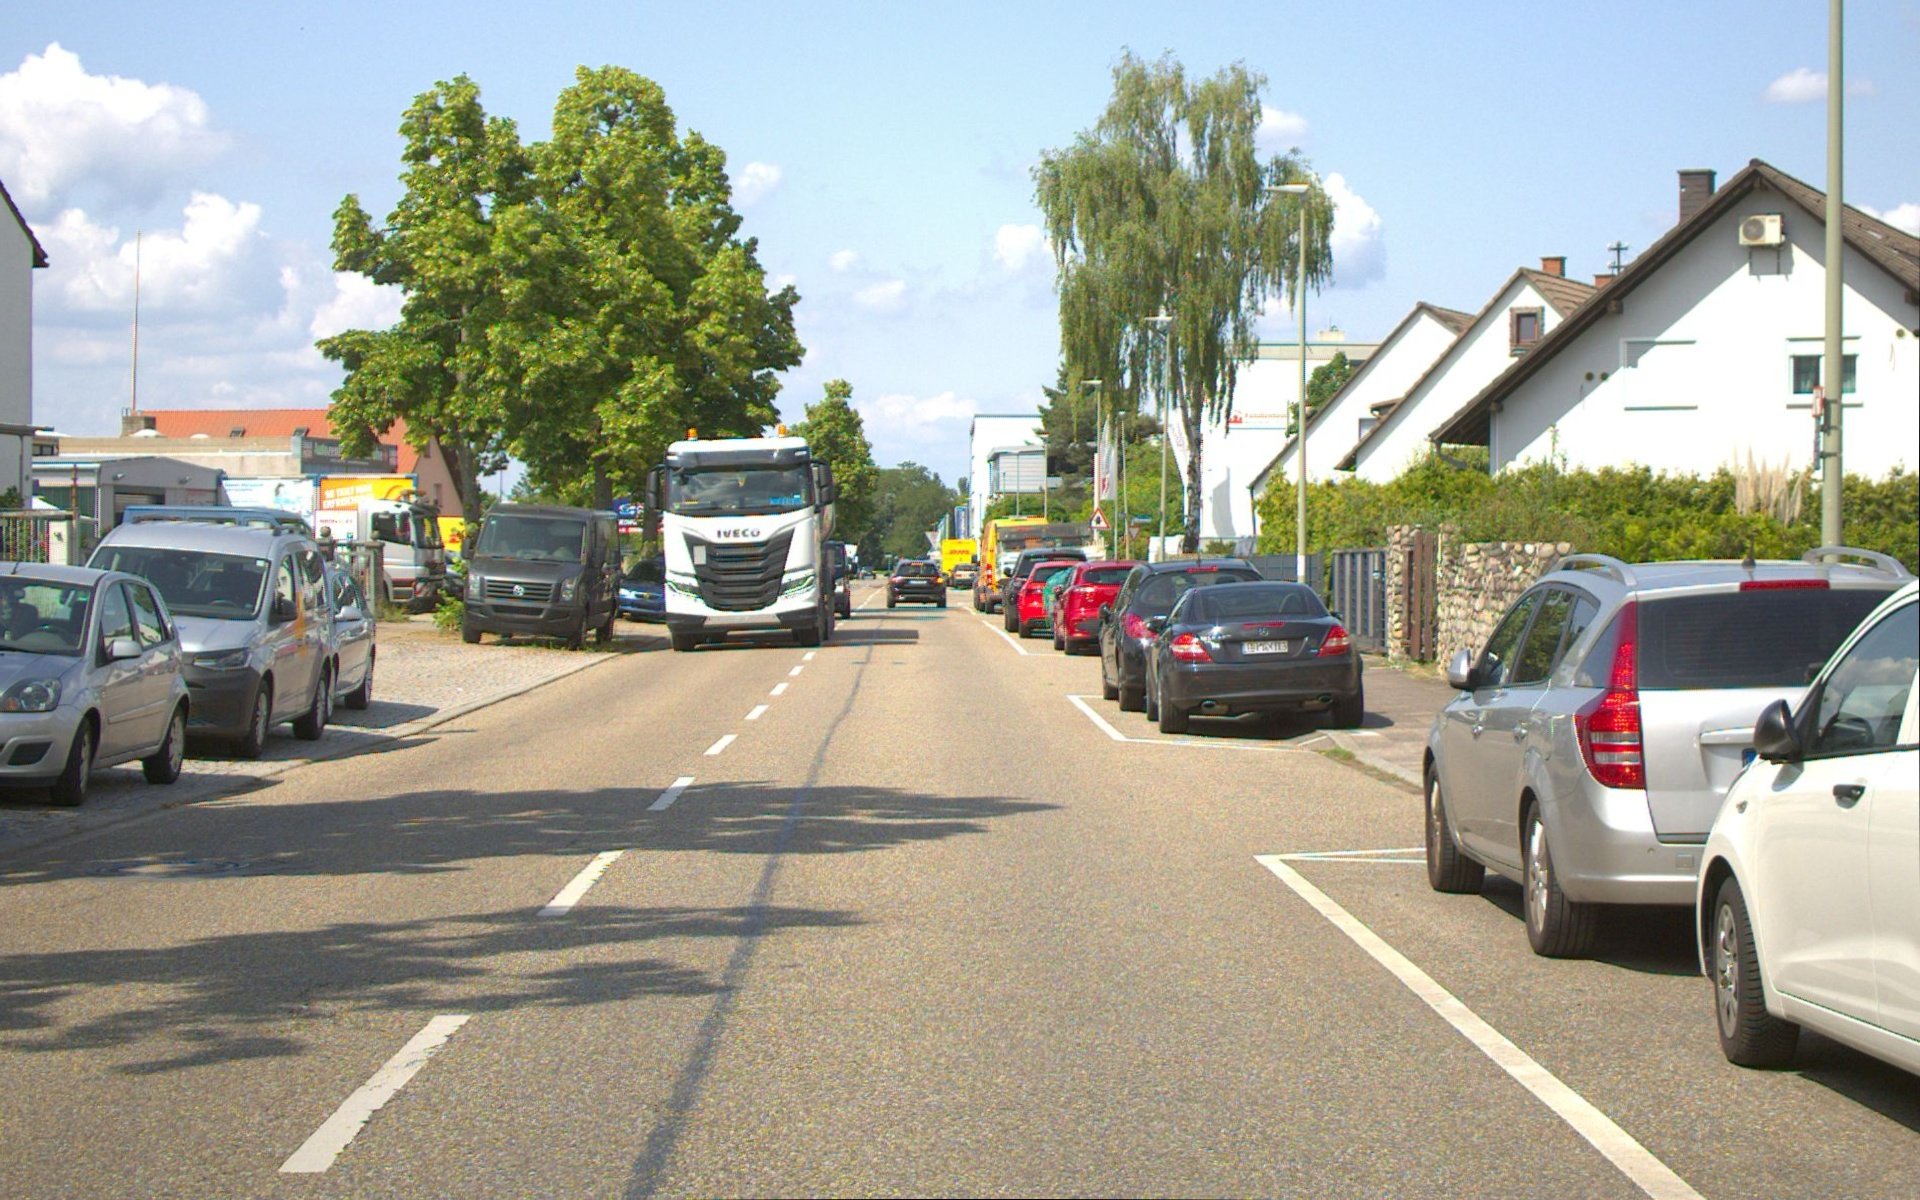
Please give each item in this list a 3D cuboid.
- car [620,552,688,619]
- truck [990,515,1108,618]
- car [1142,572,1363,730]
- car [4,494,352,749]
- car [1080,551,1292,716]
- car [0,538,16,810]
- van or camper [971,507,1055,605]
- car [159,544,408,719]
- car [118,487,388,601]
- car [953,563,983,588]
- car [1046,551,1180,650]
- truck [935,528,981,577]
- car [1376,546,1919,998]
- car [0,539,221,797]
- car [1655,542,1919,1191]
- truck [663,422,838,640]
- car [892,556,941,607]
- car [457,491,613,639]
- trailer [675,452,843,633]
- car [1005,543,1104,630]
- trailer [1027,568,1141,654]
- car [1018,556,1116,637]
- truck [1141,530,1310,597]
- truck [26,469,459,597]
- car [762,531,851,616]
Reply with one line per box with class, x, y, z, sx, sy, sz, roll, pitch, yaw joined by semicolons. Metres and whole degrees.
car;-7.081;-0.354;79.730;1.247;1.514;3.366;0;1;0
truck;2.019;-0.784;79.937;2.522;2.291;5.895;0;1;0
car;2.609;0.422;31.418;1.710;1.313;3.963;1;1;1
car;-6.296;0.135;28.179;1.809;1.800;4.491;4;1;-1
car;2.297;0.304;35.917;1.743;1.545;4.122;2;1;-2
car;-6.097;0.375;16.511;1.809;1.488;4.596;3;0;0
van or camper;1.457;-1.242;96.996;1.993;2.655;5.770;1;1;-3
car;-6.736;0.261;34.677;1.748;1.456;4.710;4;2;-3
car;-14.483;-1.133;70.482;5.003;2.224;1.999;1;-1;12
car;0.481;-1.429;201.551;1.651;1.382;4.423;2;1;-1
car;2.368;-0.011;54.264;1.691;1.458;4.756;1;0;-2
truck;-0.155;-2.929;213.039;2.474;2.930;7.189;2;0;-2
car;2.889;0.572;14.094;1.745;1.547;4.292;1;1;-1
car;-6.106;0.366;22.391;1.622;1.464;3.926;5;0;0
car;2.938;0.607;8.959;1.442;1.500;3.671;0;1;-1
truck;-3.464;-1.149;58.184;2.772;3.487;5.882;0;1;-2
car;-1.324;-0.580;104.963;1.427;1.514;3.017;0;1;0
car;-6.929;-0.614;56.419;2.168;2.252;4.001;2;2;-3
trailer;-3.671;-1.021;62.995;2.834;3.058;8.891;0;1;-3
car;1.873;-0.285;69.307;1.830;1.656;4.554;1;1;0
trailer;2.086;0.160;58.874;1.608;1.373;4.433;1;0;-2
car;1.977;-0.074;64.317;1.684;1.430;4.146;1;0;0
truck;10.307;-1.407;133.207;6.039;2.568;2.567;0;1;-26
truck;-16.272;-1.524;78.276;9.259;2.846;2.720;0;1;4
car;-3.812;-0.666;86.090;2.051;2.027;5.142;-1;1;-1
